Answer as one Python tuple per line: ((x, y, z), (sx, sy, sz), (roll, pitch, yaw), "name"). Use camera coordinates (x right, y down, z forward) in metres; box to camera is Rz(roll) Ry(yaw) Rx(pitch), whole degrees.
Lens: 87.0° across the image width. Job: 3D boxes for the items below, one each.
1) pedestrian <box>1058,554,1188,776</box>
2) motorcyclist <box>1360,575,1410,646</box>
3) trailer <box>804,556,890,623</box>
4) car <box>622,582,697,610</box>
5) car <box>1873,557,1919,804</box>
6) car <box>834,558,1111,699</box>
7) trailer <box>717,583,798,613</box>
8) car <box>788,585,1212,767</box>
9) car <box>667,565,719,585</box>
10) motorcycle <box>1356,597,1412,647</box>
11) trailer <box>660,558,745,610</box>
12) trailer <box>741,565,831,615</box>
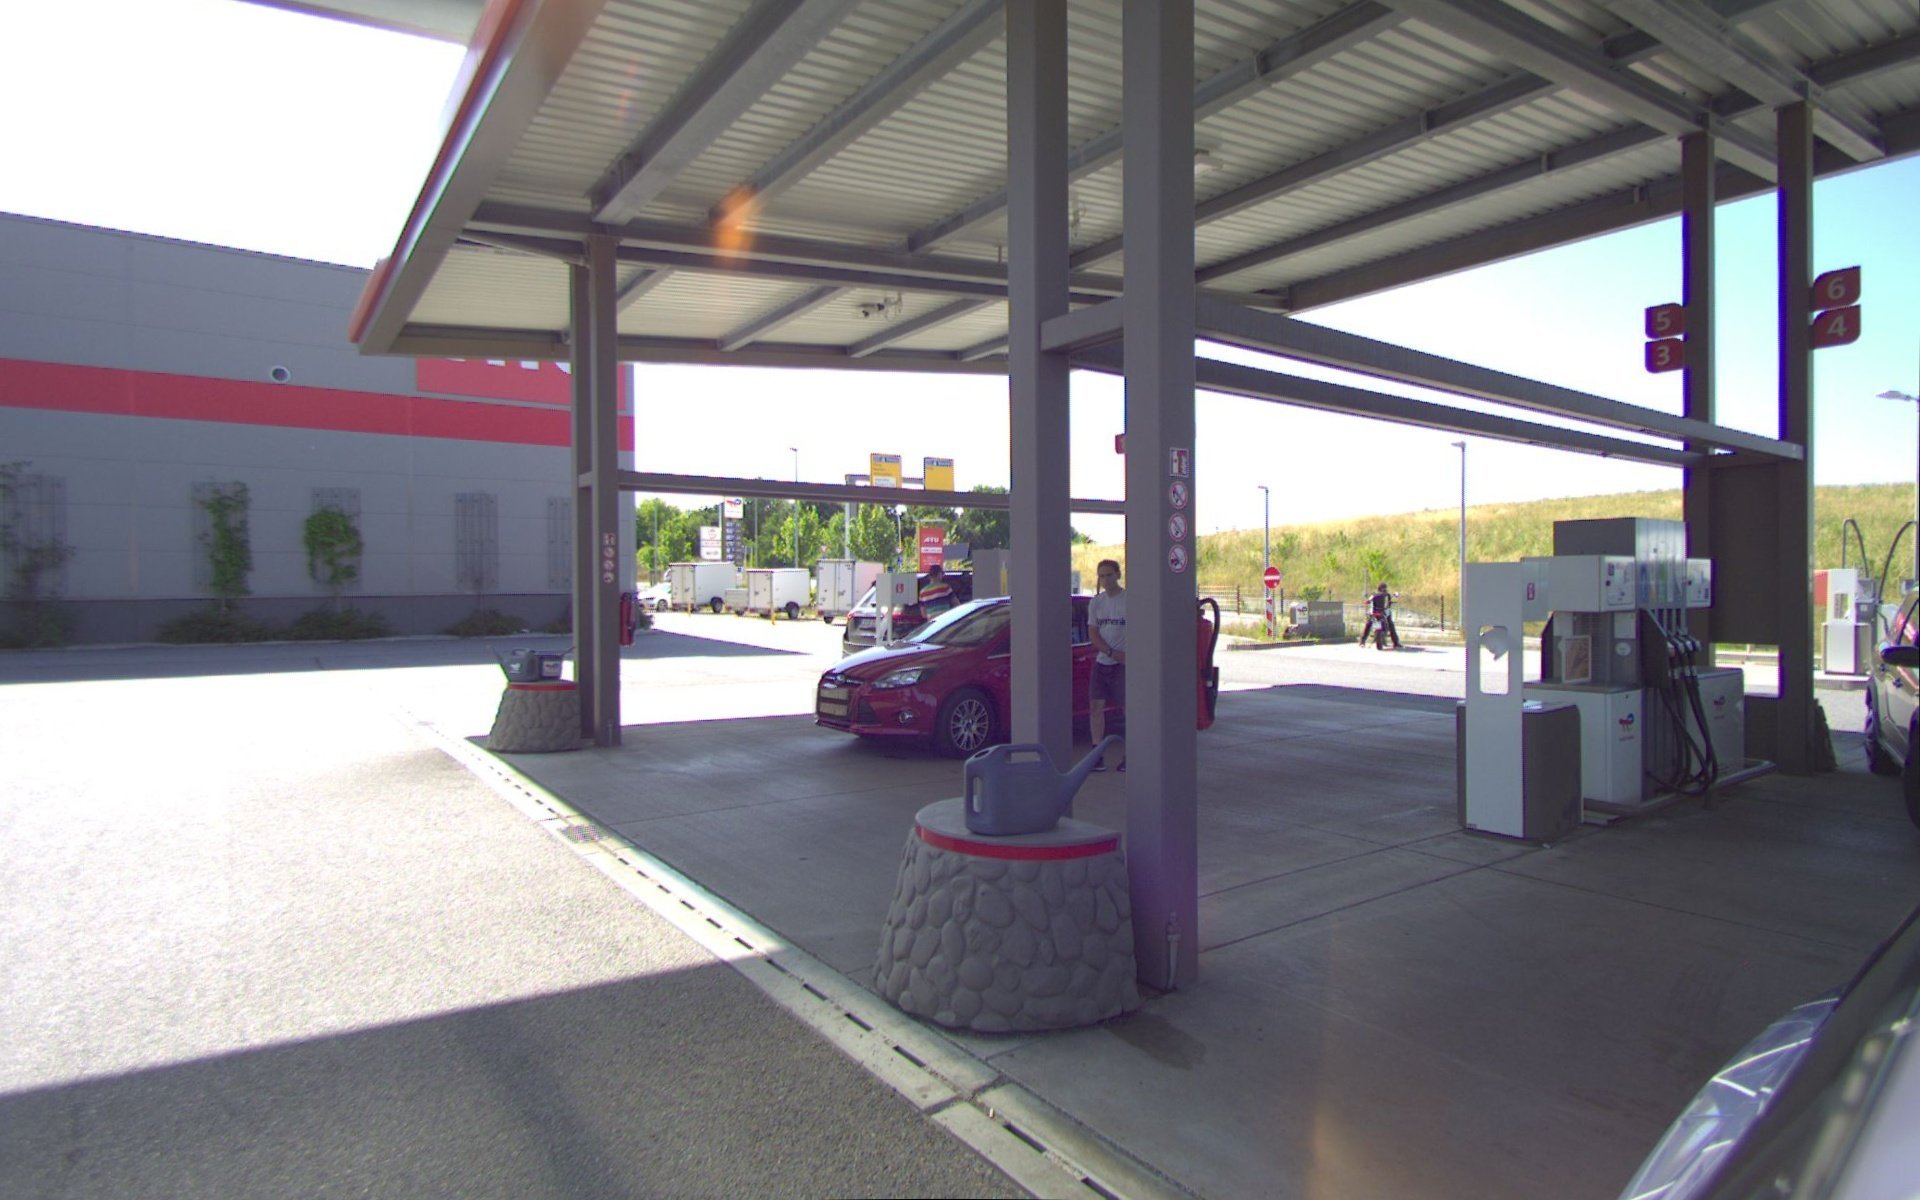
((1.370, 0.497, 8.456), (0.700, 1.724, 0.915), (0, 0, 40), "pedestrian")
((10.549, 0.241, 25.130), (1.025, 1.709, 1.088), (1, 1, 29), "motorcyclist")
((-4.311, -0.435, 39.187), (1.972, 2.457, 3.980), (1, 1, 16), "trailer")
((-14.926, -0.230, 50.466), (1.661, 1.334, 3.810), (1, 1, 20), "car")
((7.618, 0.546, 6.885), (1.734, 1.665, 4.569), (1, 1, 38), "car")
((0.376, 0.372, 15.990), (2.022, 1.874, 4.735), (1, 0, 36), "car")
((-9.050, -0.114, 45.454), (1.565, 1.297, 3.681), (1, 1, 29), "trailer")
((0.521, 0.604, 10.226), (4.154, 1.487, 1.703), (0, 1, -37), "car")
((-21.442, -1.973, 81.392), (3.918, 1.562, 1.735), (0, 1, -8), "car")
((10.593, 0.516, 25.207), (1.036, 1.119, 2.392), (1, 2, 29), "motorcycle")
((-12.598, -0.784, 49.798), (1.980, 2.457, 3.964), (1, 1, 26), "trailer")
((-7.425, -0.426, 43.563), (1.787, 2.039, 3.959), (0, 1, 29), "trailer")
